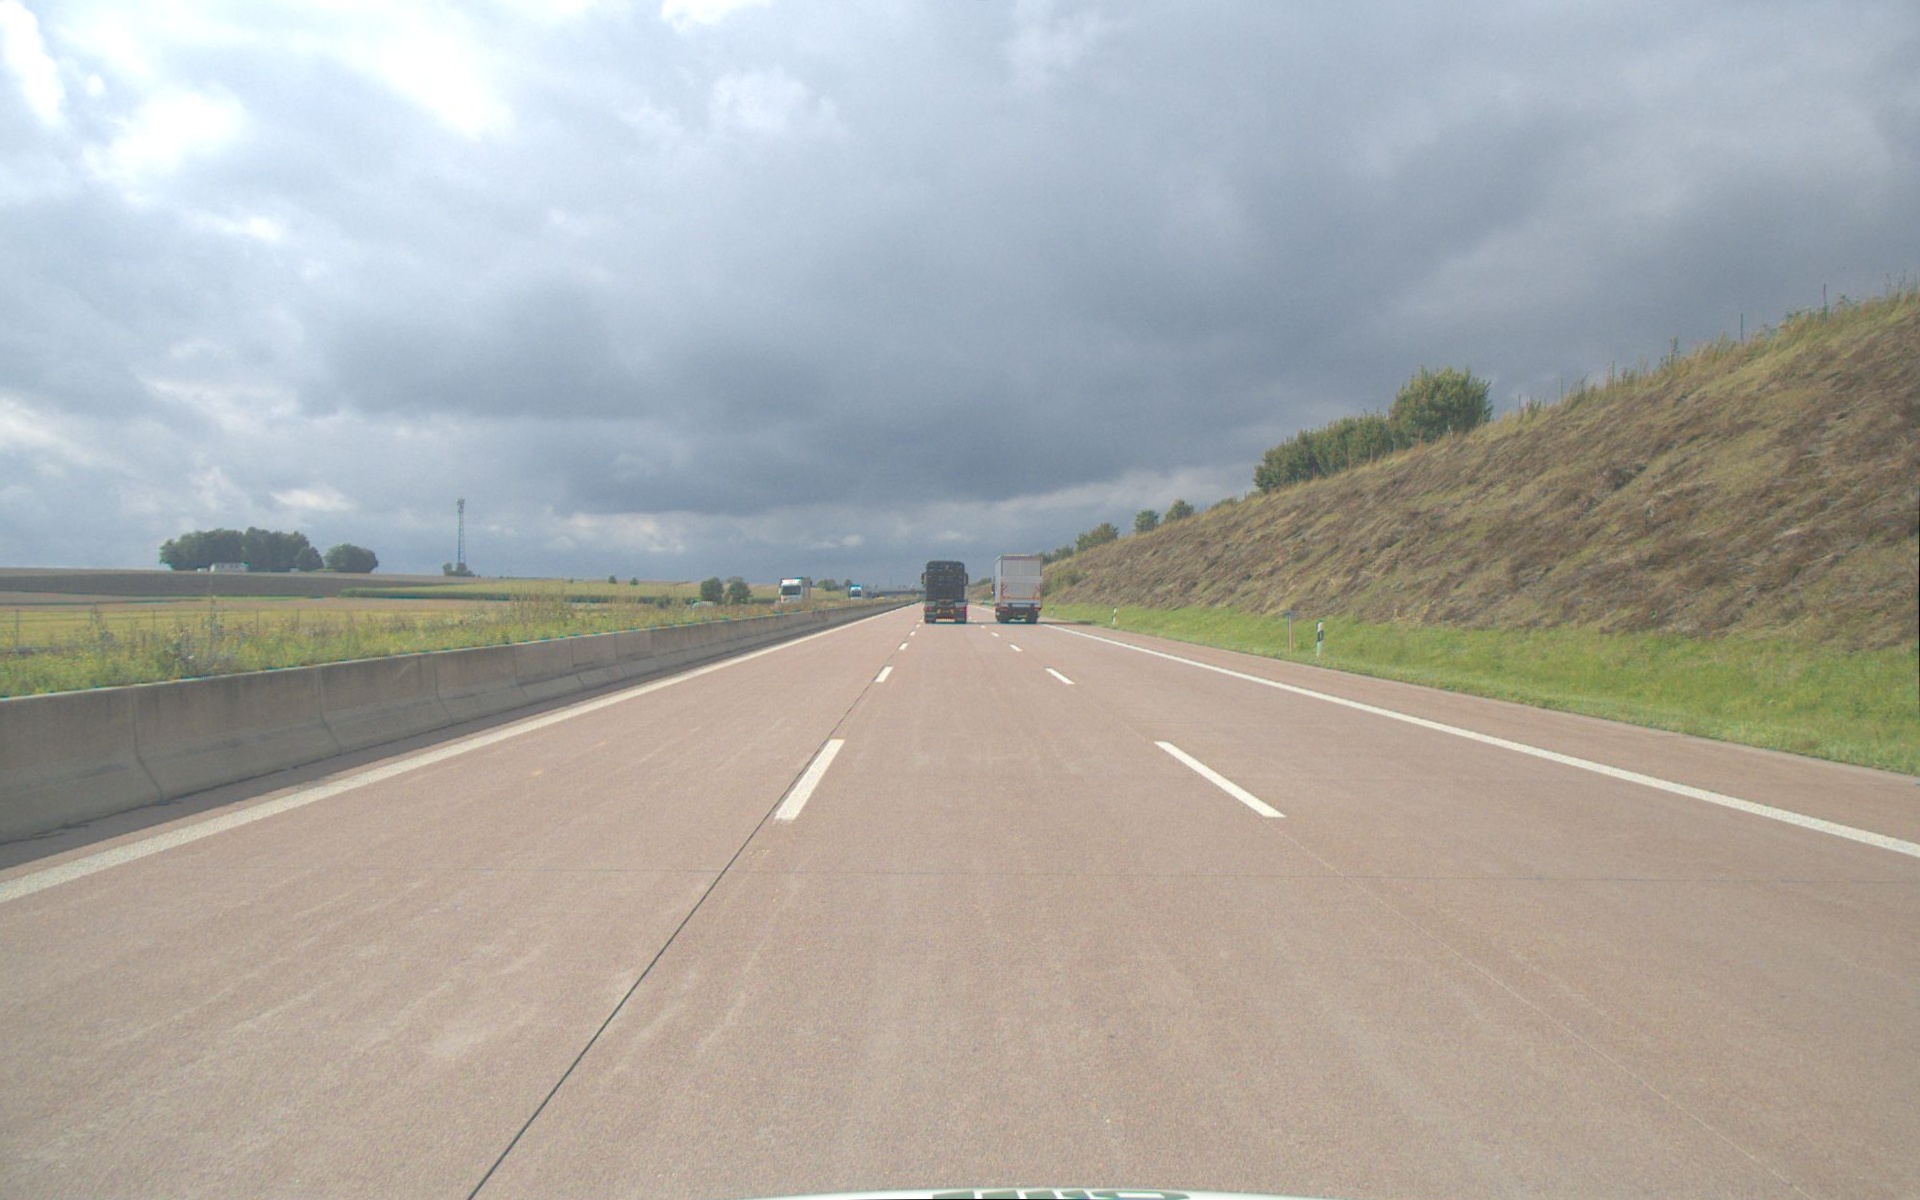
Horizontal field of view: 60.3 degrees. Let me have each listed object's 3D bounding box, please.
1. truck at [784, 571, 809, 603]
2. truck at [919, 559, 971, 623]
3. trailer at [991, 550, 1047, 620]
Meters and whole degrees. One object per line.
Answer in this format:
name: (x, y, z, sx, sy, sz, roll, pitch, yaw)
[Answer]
truck: (-20.713, -1.639, 209.295, 2.714, 4.028, 5.289, -1, 0, -2)
truck: (-0.953, -0.506, 98.285, 2.790, 3.612, 8.315, 1, 0, -2)
trailer: (3.569, -0.856, 101.938, 2.692, 4.082, 8.666, 1, 0, -3)
